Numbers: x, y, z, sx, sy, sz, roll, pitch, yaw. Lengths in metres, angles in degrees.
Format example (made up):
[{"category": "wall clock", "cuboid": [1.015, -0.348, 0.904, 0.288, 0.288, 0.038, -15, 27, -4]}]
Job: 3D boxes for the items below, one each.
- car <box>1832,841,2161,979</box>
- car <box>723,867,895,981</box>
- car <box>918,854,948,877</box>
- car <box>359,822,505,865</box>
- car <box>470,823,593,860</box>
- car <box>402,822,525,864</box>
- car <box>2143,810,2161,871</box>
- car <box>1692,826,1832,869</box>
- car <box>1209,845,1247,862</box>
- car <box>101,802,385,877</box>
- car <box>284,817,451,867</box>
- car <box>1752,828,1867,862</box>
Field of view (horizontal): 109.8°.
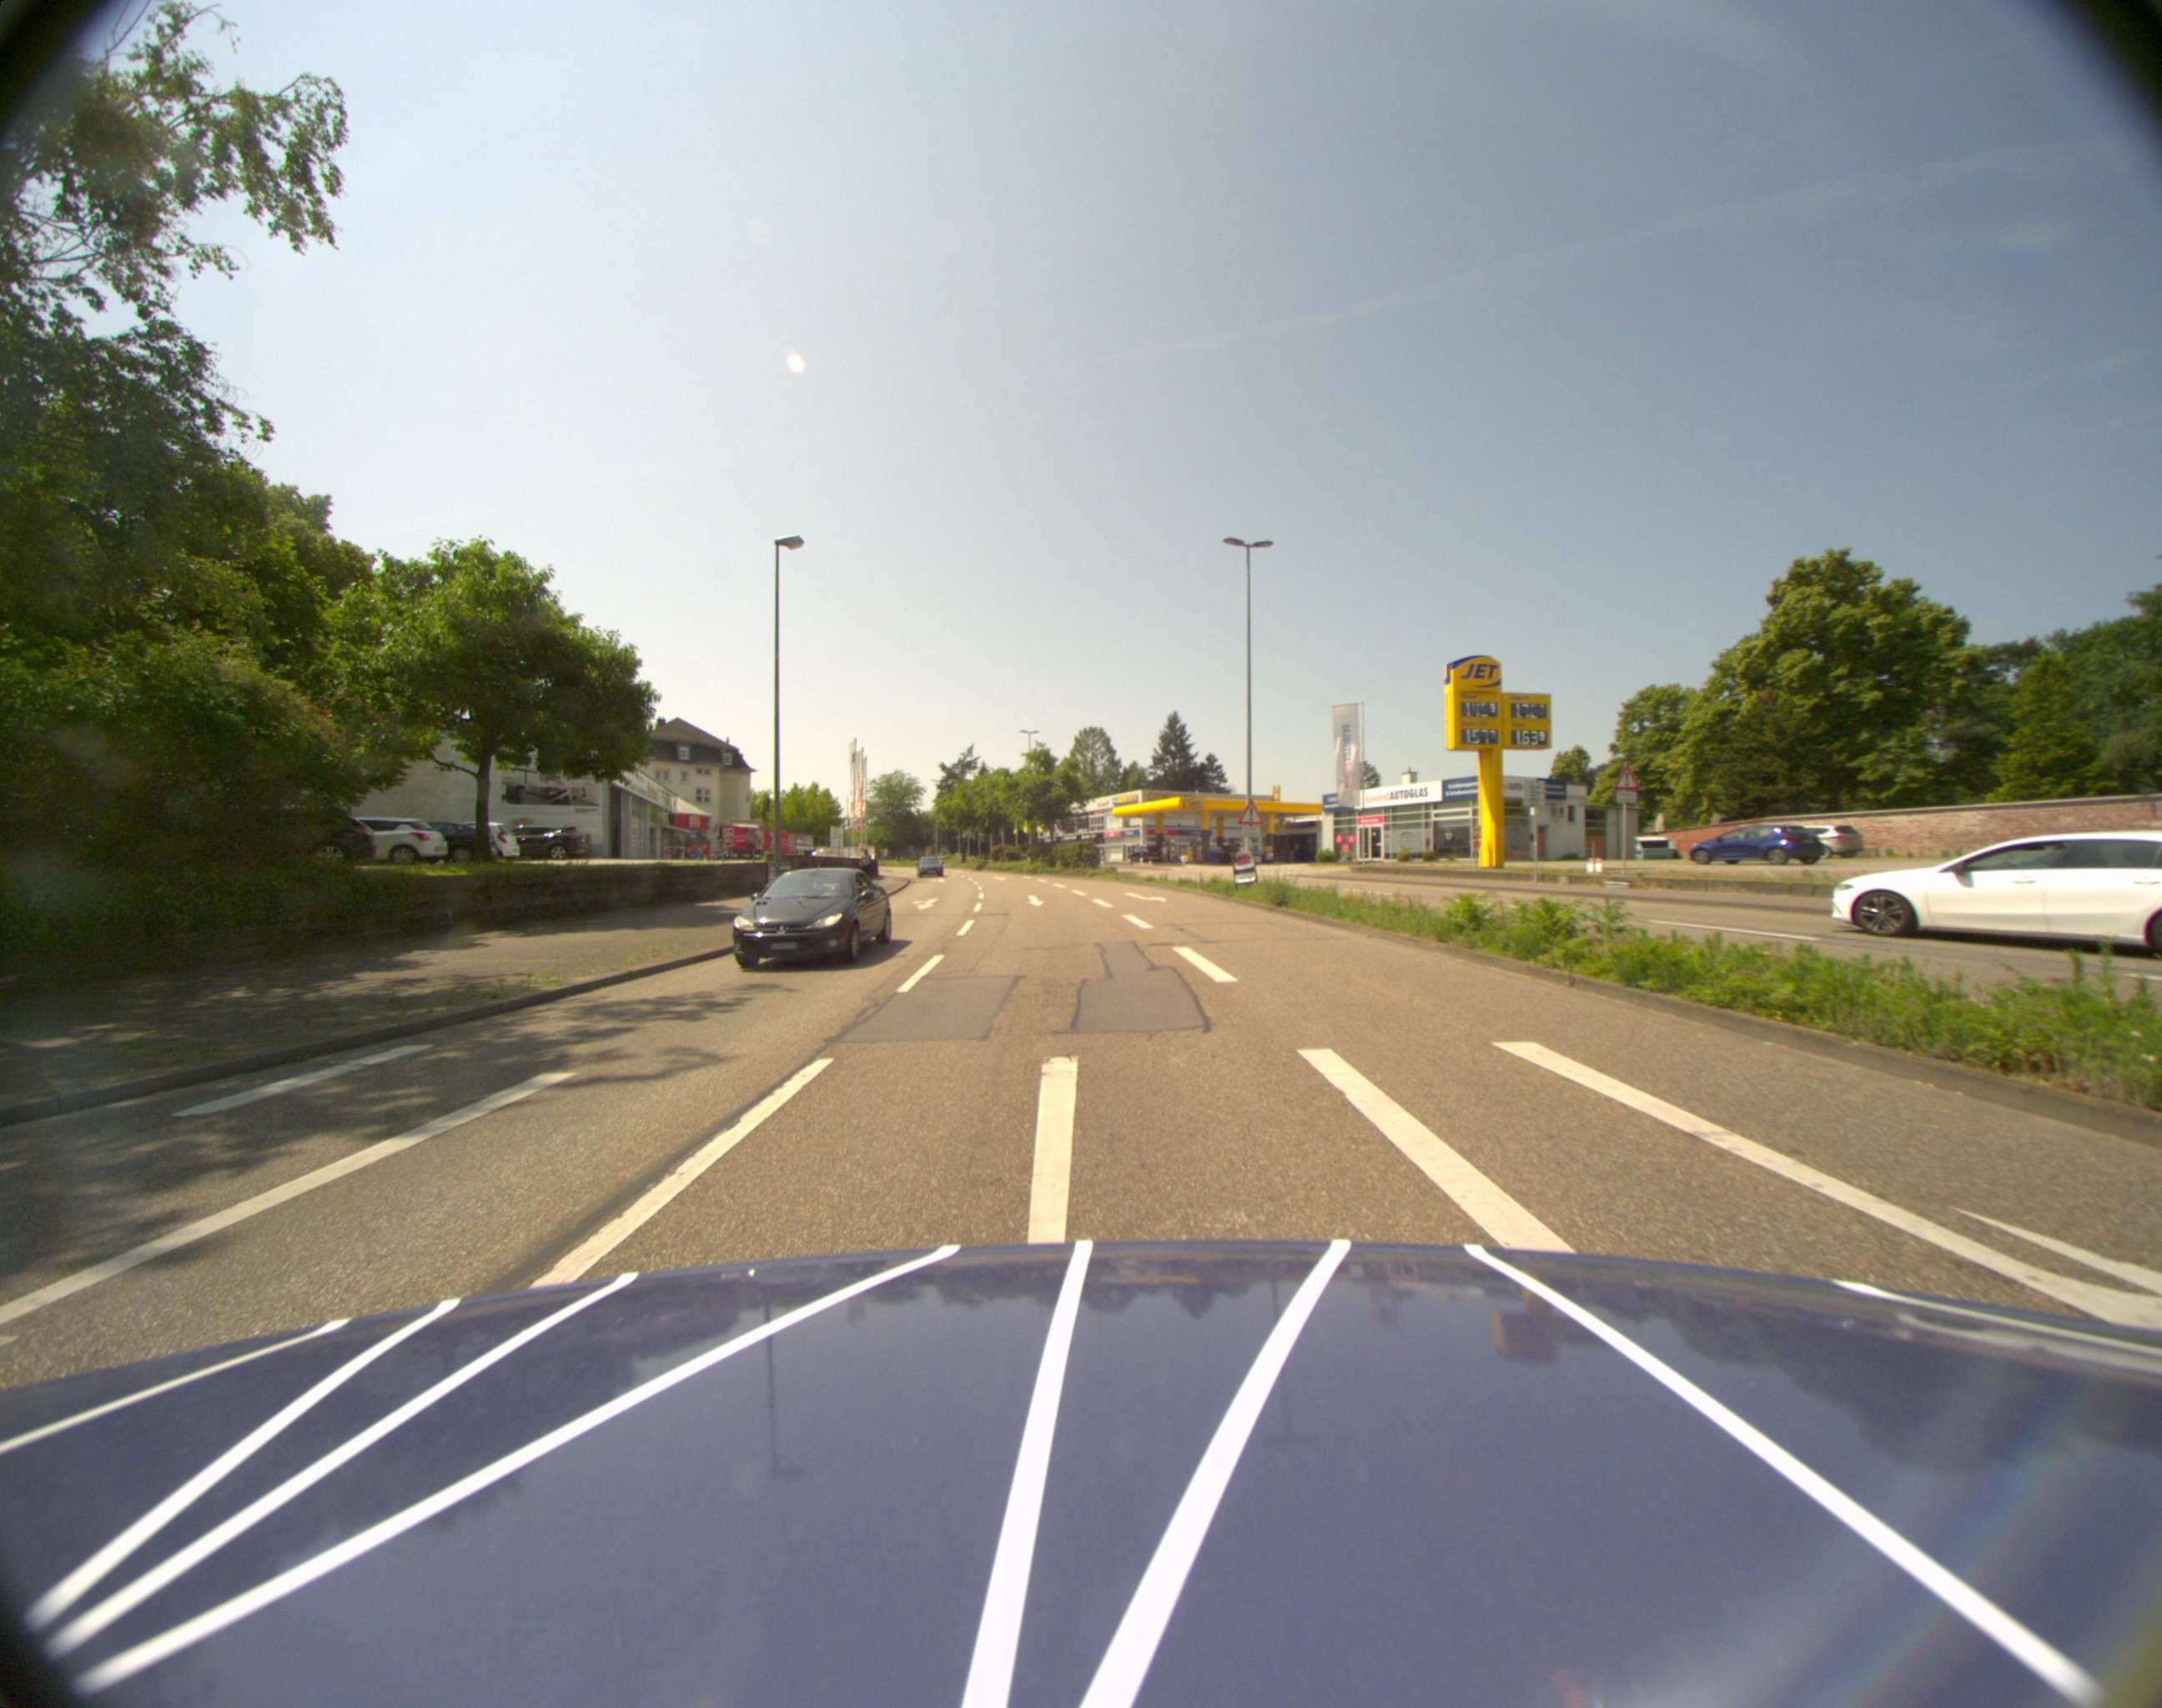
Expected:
[{"category": "car", "cuboid": [12.224, 0.577, 9.153, 1.874, 1.417, 4.264, -1, 1, -7]}, {"category": "car", "cuboid": [-4.072, 0.959, 11.972, 1.604, 1.416, 3.659, -1, 0, -4]}, {"category": "car", "cuboid": [-10.130, 0.769, 51.973, 1.700, 1.366, 3.993, 0, 2, -16]}, {"category": "car", "cuboid": [-21.643, -0.354, 25.498, 3.324, 1.377, 1.656, -1, 1, -20]}, {"category": "car", "cuboid": [-23.962, -0.539, 33.299, 4.004, 1.531, 1.735, -1, 1, -20]}, {"category": "car", "cuboid": [-22.552, -0.402, 27.868, 3.157, 1.463, 1.501, -1, 1, -17]}, {"category": "car", "cuboid": [30.484, -0.376, 18.708, 1.695, 1.640, 4.750, -1, 1, -17]}, {"category": "car", "cuboid": [25.643, -0.239, 28.775, 1.695, 1.497, 3.626, -1, 1, -15]}, {"category": "car", "cuboid": [13.424, -0.052, 69.634, 1.658, 1.534, 4.207, -2, 1, -16]}, {"category": "car", "cuboid": [-18.823, -0.323, 17.303, 1.995, 1.475, 3.854, -1, 1, 24]}, {"category": "car", "cuboid": [-21.270, -0.363, 22.803, 3.293, 1.403, 1.527, -1, 1, -20]}, {"category": "car", "cuboid": [34.252, -0.429, 35.846, 1.621, 1.497, 3.626, -1, 1, -15]}]
